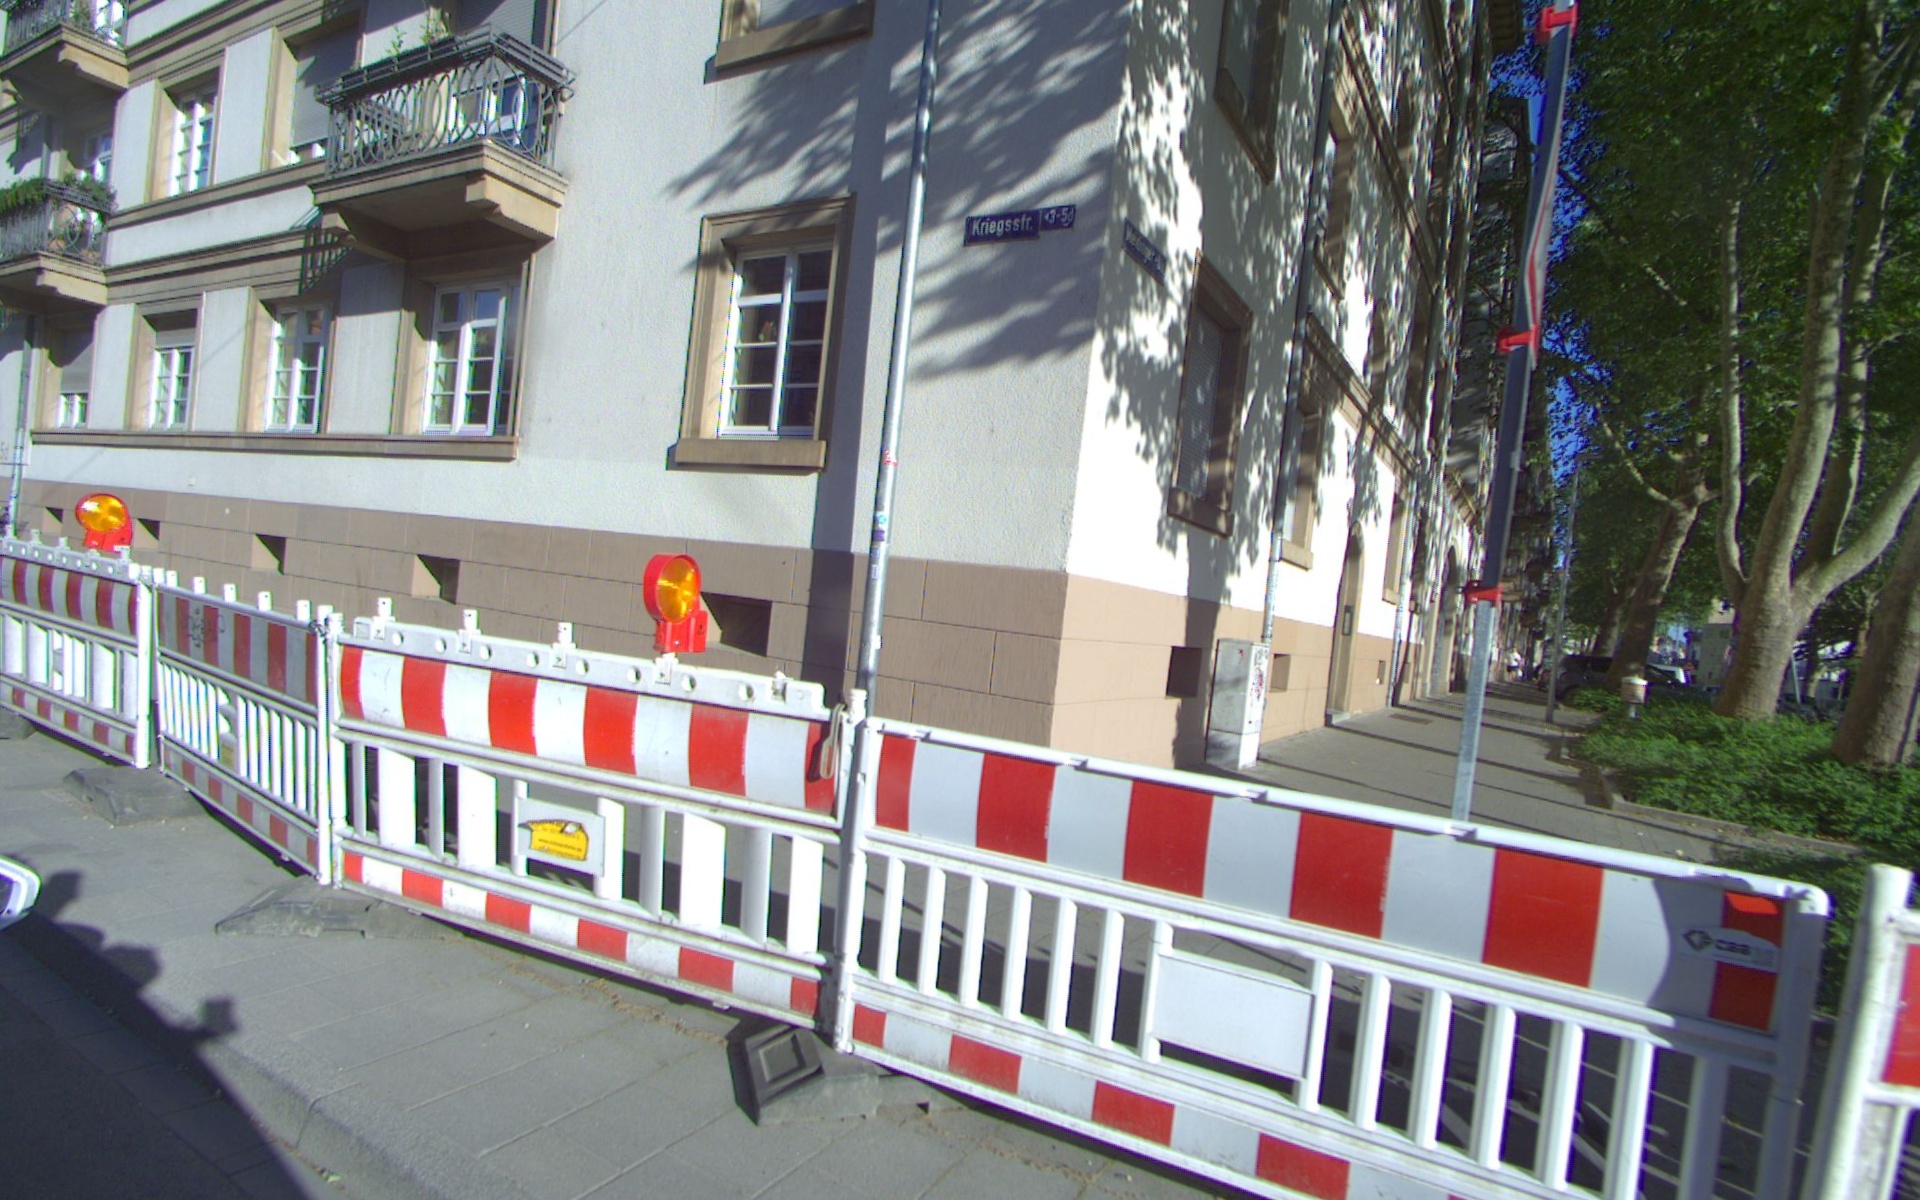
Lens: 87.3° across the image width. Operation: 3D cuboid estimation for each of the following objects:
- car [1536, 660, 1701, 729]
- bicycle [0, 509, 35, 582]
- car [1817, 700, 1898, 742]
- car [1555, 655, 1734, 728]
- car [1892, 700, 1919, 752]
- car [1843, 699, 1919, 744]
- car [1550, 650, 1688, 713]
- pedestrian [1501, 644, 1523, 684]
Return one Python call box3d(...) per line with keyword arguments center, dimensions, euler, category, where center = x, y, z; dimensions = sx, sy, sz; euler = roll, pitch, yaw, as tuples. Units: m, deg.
box3d(center=(21.599, 3.061, 33.211), dimensions=(4.295, 1.603, 1.867), euler=(6, 0, 32), category="car")
box3d(center=(-15.905, -0.951, 16.515), dimensions=(2.162, 1.109, 0.418), euler=(6, 0, 32), category="bicycle")
box3d(center=(36.360, 4.909, 40.855), dimensions=(1.700, 1.395, 3.994), euler=(6, -2, 32), category="car")
box3d(center=(20.898, 2.747, 30.937), dimensions=(4.295, 1.603, 1.867), euler=(6, 0, 32), category="car")
box3d(center=(30.347, 3.967, 30.888), dimensions=(1.700, 1.547, 3.994), euler=(7, -2, 32), category="car")
box3d(center=(32.492, 4.243, 35.170), dimensions=(1.700, 1.283, 3.993), euler=(7, -1, 32), category="car")
box3d(center=(25.980, 3.175, 39.838), dimensions=(4.295, 1.862, 1.995), euler=(6, 1, 32), category="car")
box3d(center=(26.016, 3.024, 47.440), dimensions=(0.711, 1.730, 0.806), euler=(6, -2, 32), category="pedestrian")
